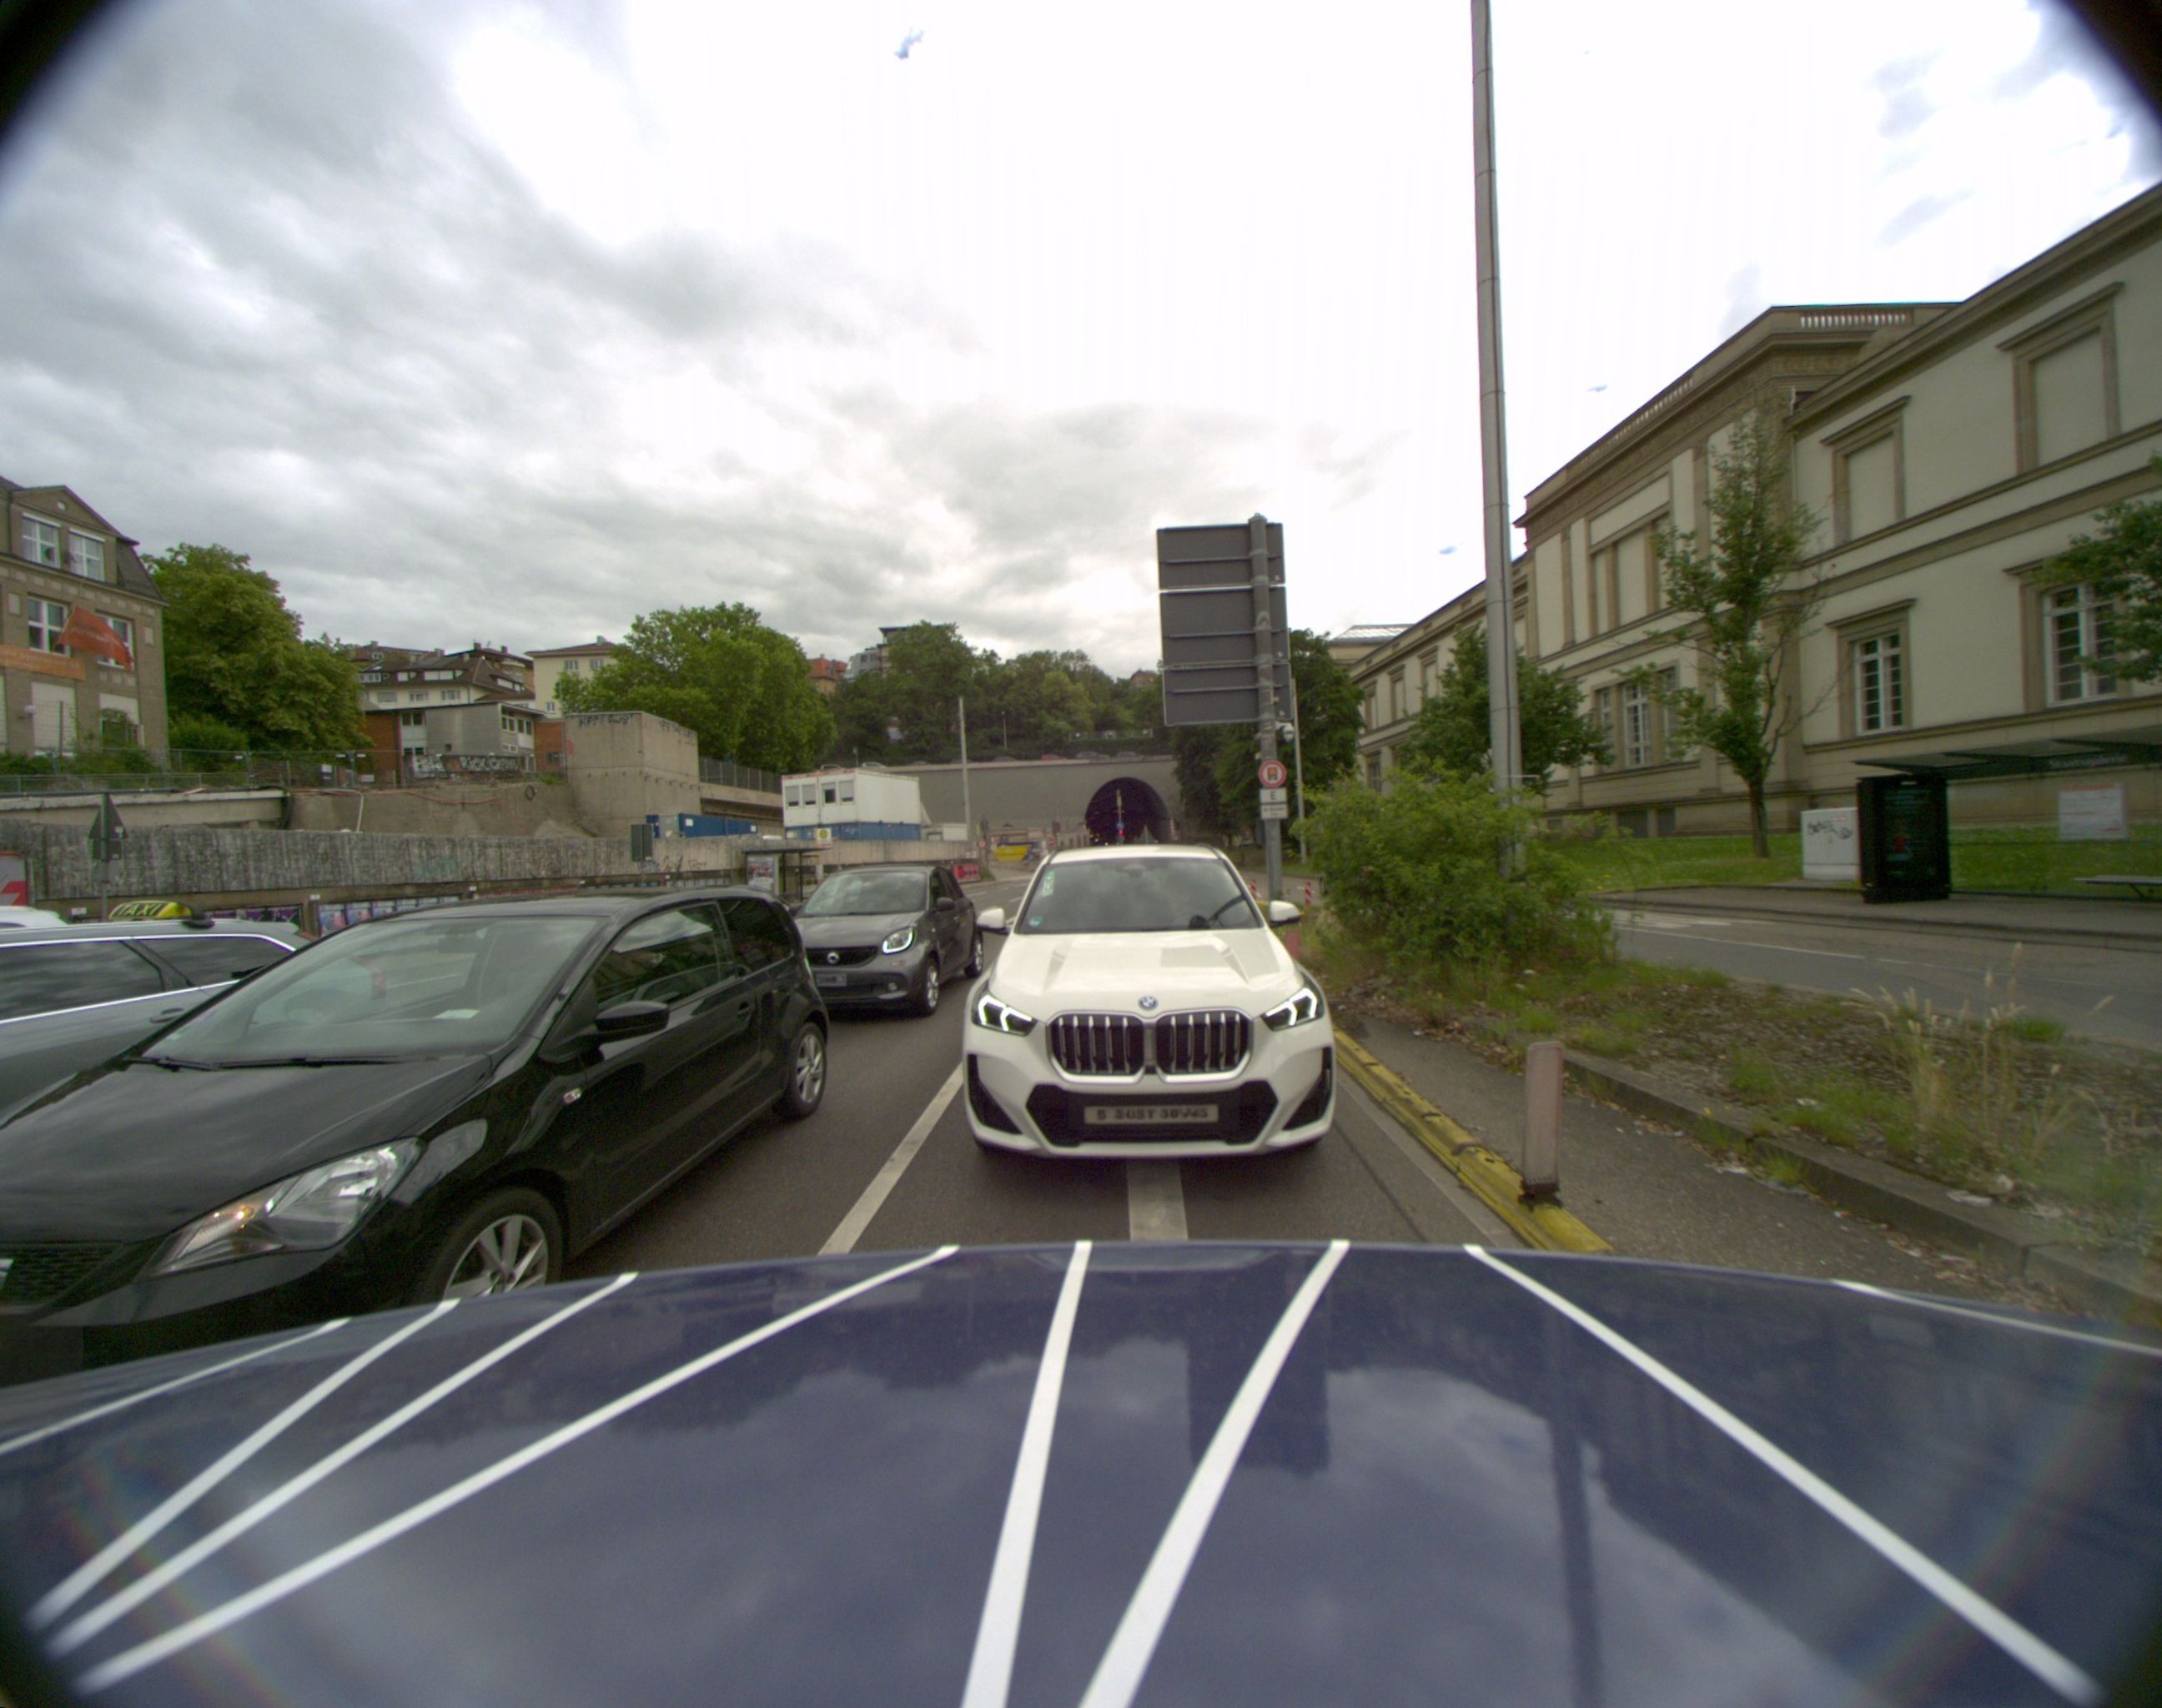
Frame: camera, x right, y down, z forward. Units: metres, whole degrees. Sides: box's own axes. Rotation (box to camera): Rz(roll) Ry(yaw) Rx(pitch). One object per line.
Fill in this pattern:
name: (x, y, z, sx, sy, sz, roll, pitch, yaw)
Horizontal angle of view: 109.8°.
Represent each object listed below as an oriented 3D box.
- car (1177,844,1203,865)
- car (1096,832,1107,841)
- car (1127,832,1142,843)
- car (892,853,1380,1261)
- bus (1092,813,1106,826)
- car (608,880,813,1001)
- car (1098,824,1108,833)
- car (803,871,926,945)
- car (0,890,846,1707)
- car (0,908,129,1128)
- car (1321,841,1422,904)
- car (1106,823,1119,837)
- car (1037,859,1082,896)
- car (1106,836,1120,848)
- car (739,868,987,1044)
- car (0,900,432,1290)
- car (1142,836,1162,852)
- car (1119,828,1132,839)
car: (8.927, 0.025, 62.361, 1.902, 1.615, 4.109, -2, 0, 6)
car: (3.162, -2.675, 116.873, 1.680, 1.358, 3.806, -2, 1, 1)
car: (7.413, -2.256, 105.322, 1.646, 1.469, 3.574, -2, 0, -2)
car: (0.257, 0.854, 5.022, 1.987, 1.615, 3.670, -2, 1, 1)
bus: (4.875, -9.162, 202.226, 3.171, 3.129, 9.118, -2, 1, -1)
car: (-5.401, 1.201, 11.457, 1.665, 1.423, 2.714, -2, 1, 1)
car: (4.976, -5.736, 171.725, 1.946, 1.714, 4.000, -2, 1, 4)
car: (-4.925, 1.174, 17.812, 1.680, 1.358, 3.806, -2, 1, 1)
car: (-2.577, 1.025, 3.343, 1.829, 1.450, 3.700, -2, 1, 1)
car: (-9.112, 1.328, 4.444, 1.680, 1.615, 4.209, -2, 1, 1)
car: (8.901, 0.500, 23.628, 1.836, 1.736, 4.001, -2, 1, 5)
car: (6.008, -4.467, 144.912, 2.203, 2.493, 4.758, -2, 1, 2)
car: (-0.931, 1.030, 34.930, 1.680, 1.450, 3.807, -2, 1, 3)
car: (4.111, -1.564, 99.247, 1.680, 1.358, 3.806, -2, 1, 1)
car: (-2.260, 0.988, 8.892, 1.720, 1.535, 3.575, -2, 0, 2)
car: (-5.862, 1.215, 3.303, 1.829, 1.615, 4.808, -2, 1, 1)
car: (8.104, -1.127, 86.846, 1.875, 1.681, 4.267, -2, 1, 0)
car: (7.185, -3.241, 122.088, 1.778, 1.609, 3.802, -2, 1, -1)
